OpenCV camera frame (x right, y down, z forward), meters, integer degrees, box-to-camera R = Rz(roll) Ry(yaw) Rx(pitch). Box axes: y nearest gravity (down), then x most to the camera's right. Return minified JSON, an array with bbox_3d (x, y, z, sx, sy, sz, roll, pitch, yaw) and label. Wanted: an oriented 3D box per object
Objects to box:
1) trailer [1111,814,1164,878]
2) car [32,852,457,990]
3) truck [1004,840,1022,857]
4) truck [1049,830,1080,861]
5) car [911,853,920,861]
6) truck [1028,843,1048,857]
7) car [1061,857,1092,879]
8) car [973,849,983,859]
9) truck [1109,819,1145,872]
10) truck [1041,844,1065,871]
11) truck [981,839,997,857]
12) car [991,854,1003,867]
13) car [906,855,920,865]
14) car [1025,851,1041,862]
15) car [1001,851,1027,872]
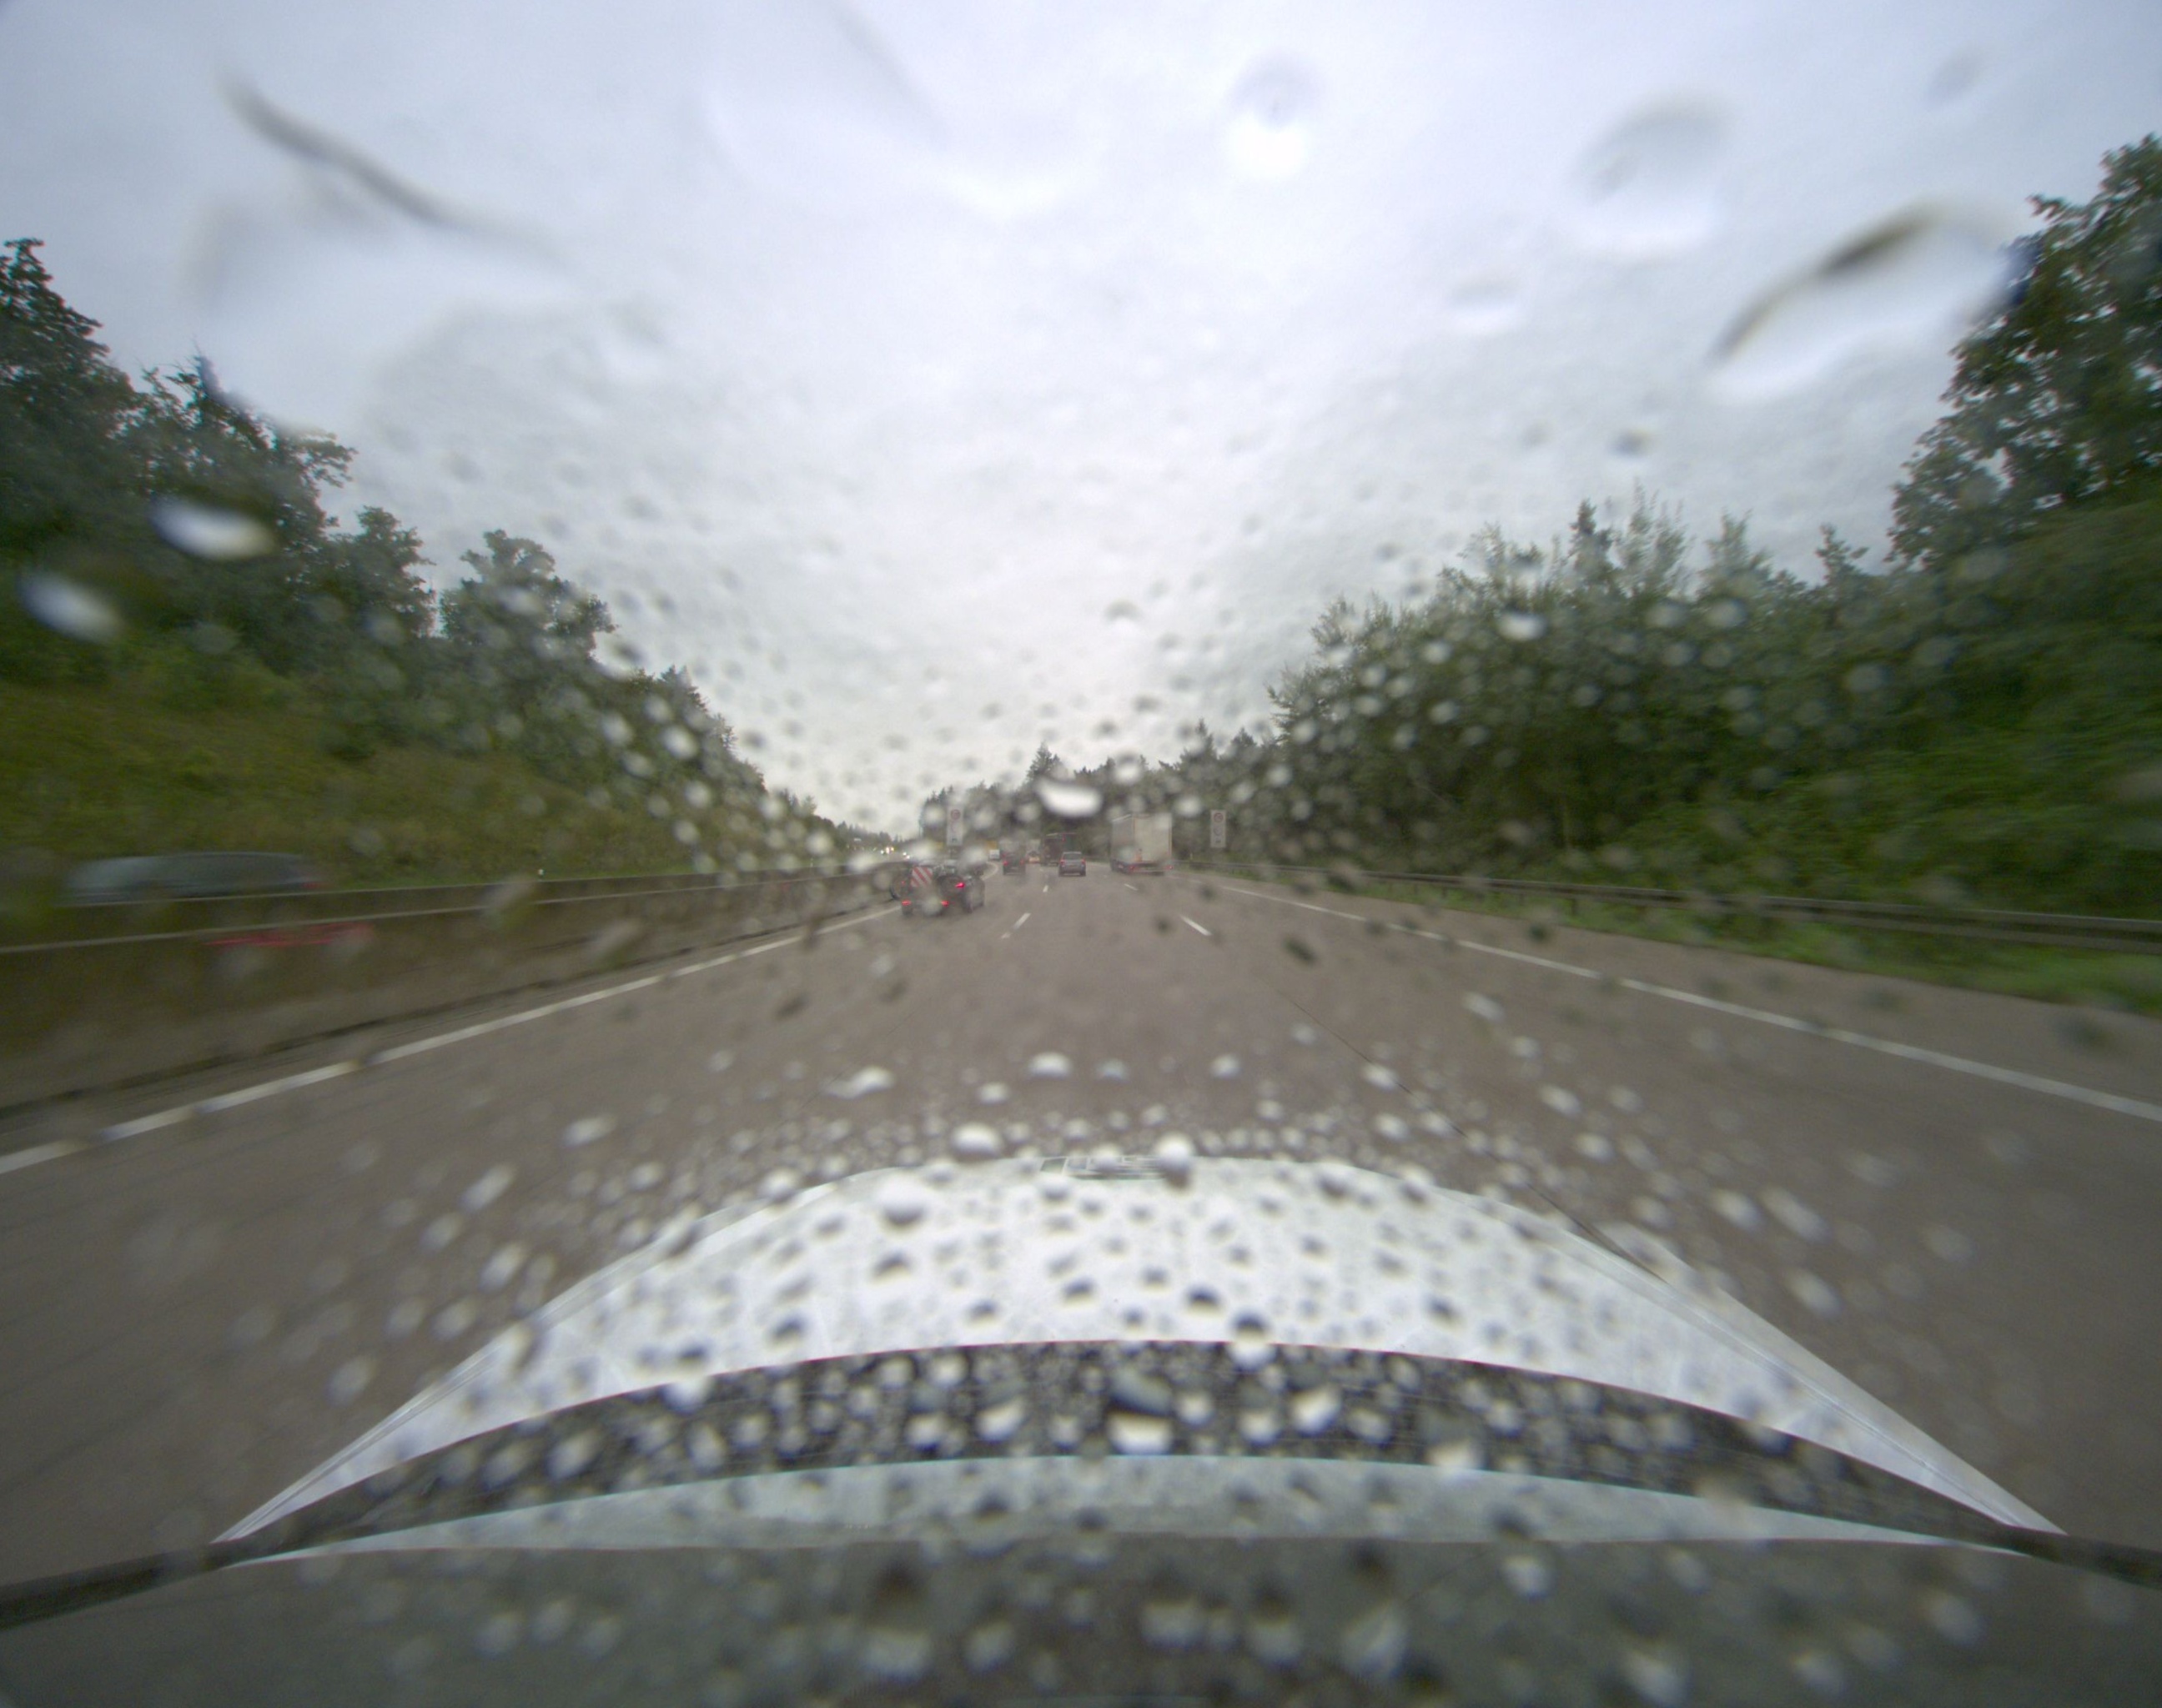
[{"bbox_3d":[3.878,-0.574,58.280,2.414,4.068,12.043,-1,0,-2],"label":"trailer"},{"bbox_3d":[-12.818,0.886,13.073,1.724,1.776,4.762,-1,0,3],"label":"car"},{"bbox_3d":[-12.225,-1.065,146.565,3.078,2.905,7.889,0,1,-5],"label":"truck"},{"bbox_3d":[-2.467,-1.181,114.871,3.366,4.131,10.412,-1,0,-7],"label":"truck"},{"bbox_3d":[-36.700,0.648,180.681,1.775,1.638,3.990,-1,0,-7],"label":"car"},{"bbox_3d":[-7.886,-0.750,147.378,2.973,2.309,6.647,1,0,-9],"label":"truck"},{"bbox_3d":[-0.289,0.904,54.660,1.545,1.351,3.691,1,0,8],"label":"car"},{"bbox_3d":[-22.000,0.090,174.042,1.992,2.059,3.988,-1,0,-8],"label":"car"},{"bbox_3d":[3.607,-0.659,65.020,2.414,4.068,4.974,-1,0,-2],"label":"truck"},{"bbox_3d":[-3.220,0.381,92.940,2.266,2.886,7.889,0,1,-5],"label":"truck"},{"bbox_3d":[-23.011,-1.427,204.194,3.738,4.210,6.799,-1,0,-8],"label":"truck"},{"bbox_3d":[-13.276,1.039,128.923,1.723,2.014,3.649,-1,0,-5],"label":"car"},{"bbox_3d":[-26.515,0.991,128.545,1.774,1.518,3.993,-1,0,-5],"label":"car"},{"bbox_3d":[-6.332,0.335,108.535,1.876,1.473,4.000,1,0,0],"label":"car"},{"bbox_3d":[-4.811,0.526,58.969,1.679,1.462,3.681,1,0,-2],"label":"car"}]
